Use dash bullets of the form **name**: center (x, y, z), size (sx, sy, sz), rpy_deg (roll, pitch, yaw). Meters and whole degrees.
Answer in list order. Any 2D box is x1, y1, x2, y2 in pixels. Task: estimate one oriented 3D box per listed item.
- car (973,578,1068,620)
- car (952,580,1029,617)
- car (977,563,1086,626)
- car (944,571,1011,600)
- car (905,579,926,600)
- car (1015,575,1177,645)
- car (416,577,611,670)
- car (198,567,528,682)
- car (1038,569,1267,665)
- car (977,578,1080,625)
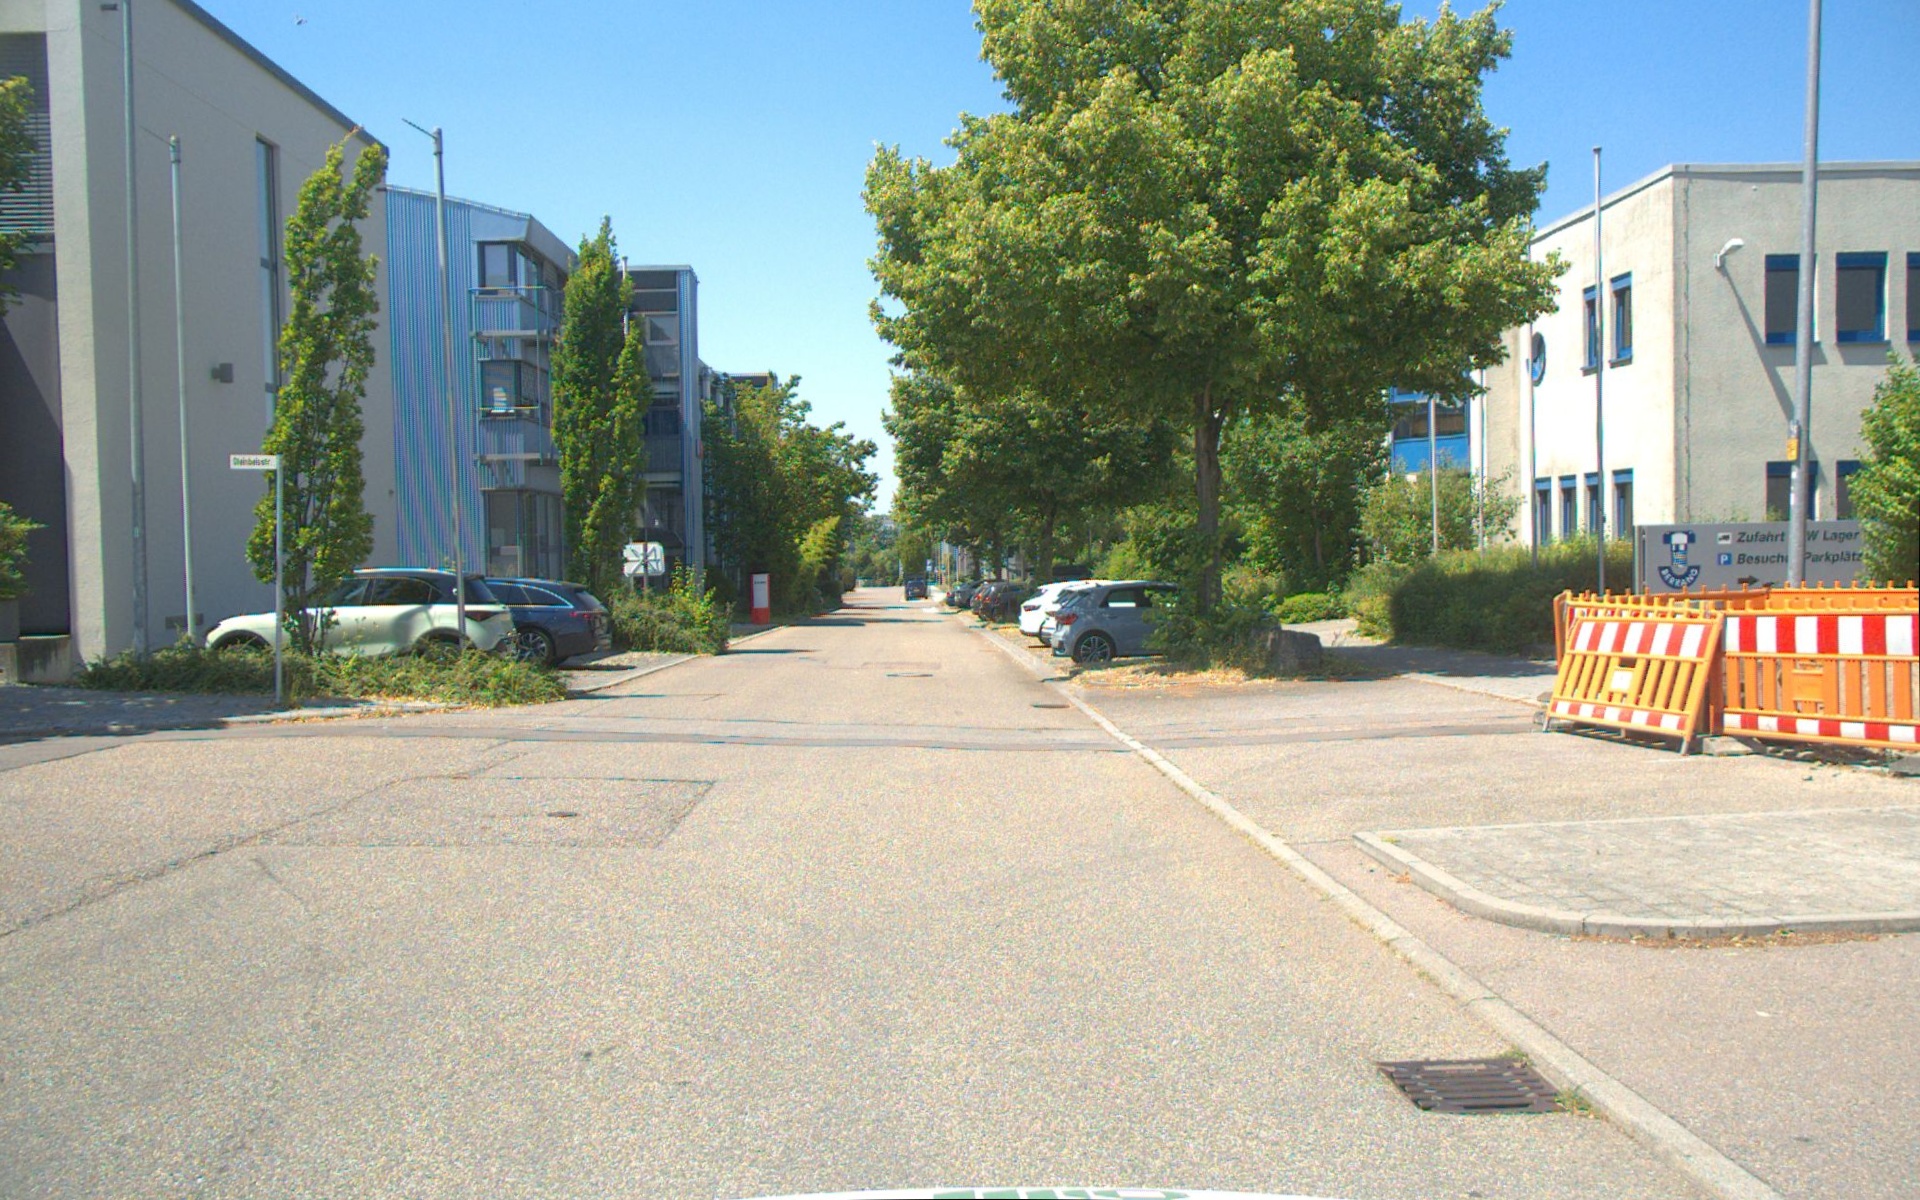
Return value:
- **car**: center (2.389, -0.045, 65.911), size (3.647, 1.655, 1.813), rpy_deg (0, 0, -2)
- **car**: center (1.596, -0.094, 87.971), size (3.859, 1.866, 1.764), rpy_deg (-1, 4, -9)
- **car**: center (2.451, -0.192, 57.118), size (3.647, 2.147, 1.813), rpy_deg (0, 0, -2)
- **car**: center (1.060, -0.907, 100.137), size (3.859, 1.604, 1.764), rpy_deg (-1, 4, -9)
- **car**: center (-3.737, -0.879, 139.198), size (1.725, 1.786, 3.944), rpy_deg (0, 0, -1)
- **car**: center (3.115, 0.213, 38.216), size (3.449, 1.378, 1.536), rpy_deg (-3, 1, -6)
- **car**: center (-7.446, 0.381, 27.759), size (3.001, 1.504, 1.290), rpy_deg (0, 0, -8)
- **car**: center (-8.183, 0.320, 22.957), size (3.966, 1.521, 1.727), rpy_deg (0, 0, -4)
- **car**: center (3.276, 0.274, 28.522), size (3.609, 1.378, 1.643), rpy_deg (-3, 1, -6)
- **car**: center (2.465, 0.048, 60.202), size (3.647, 1.655, 1.813), rpy_deg (0, 0, -2)
